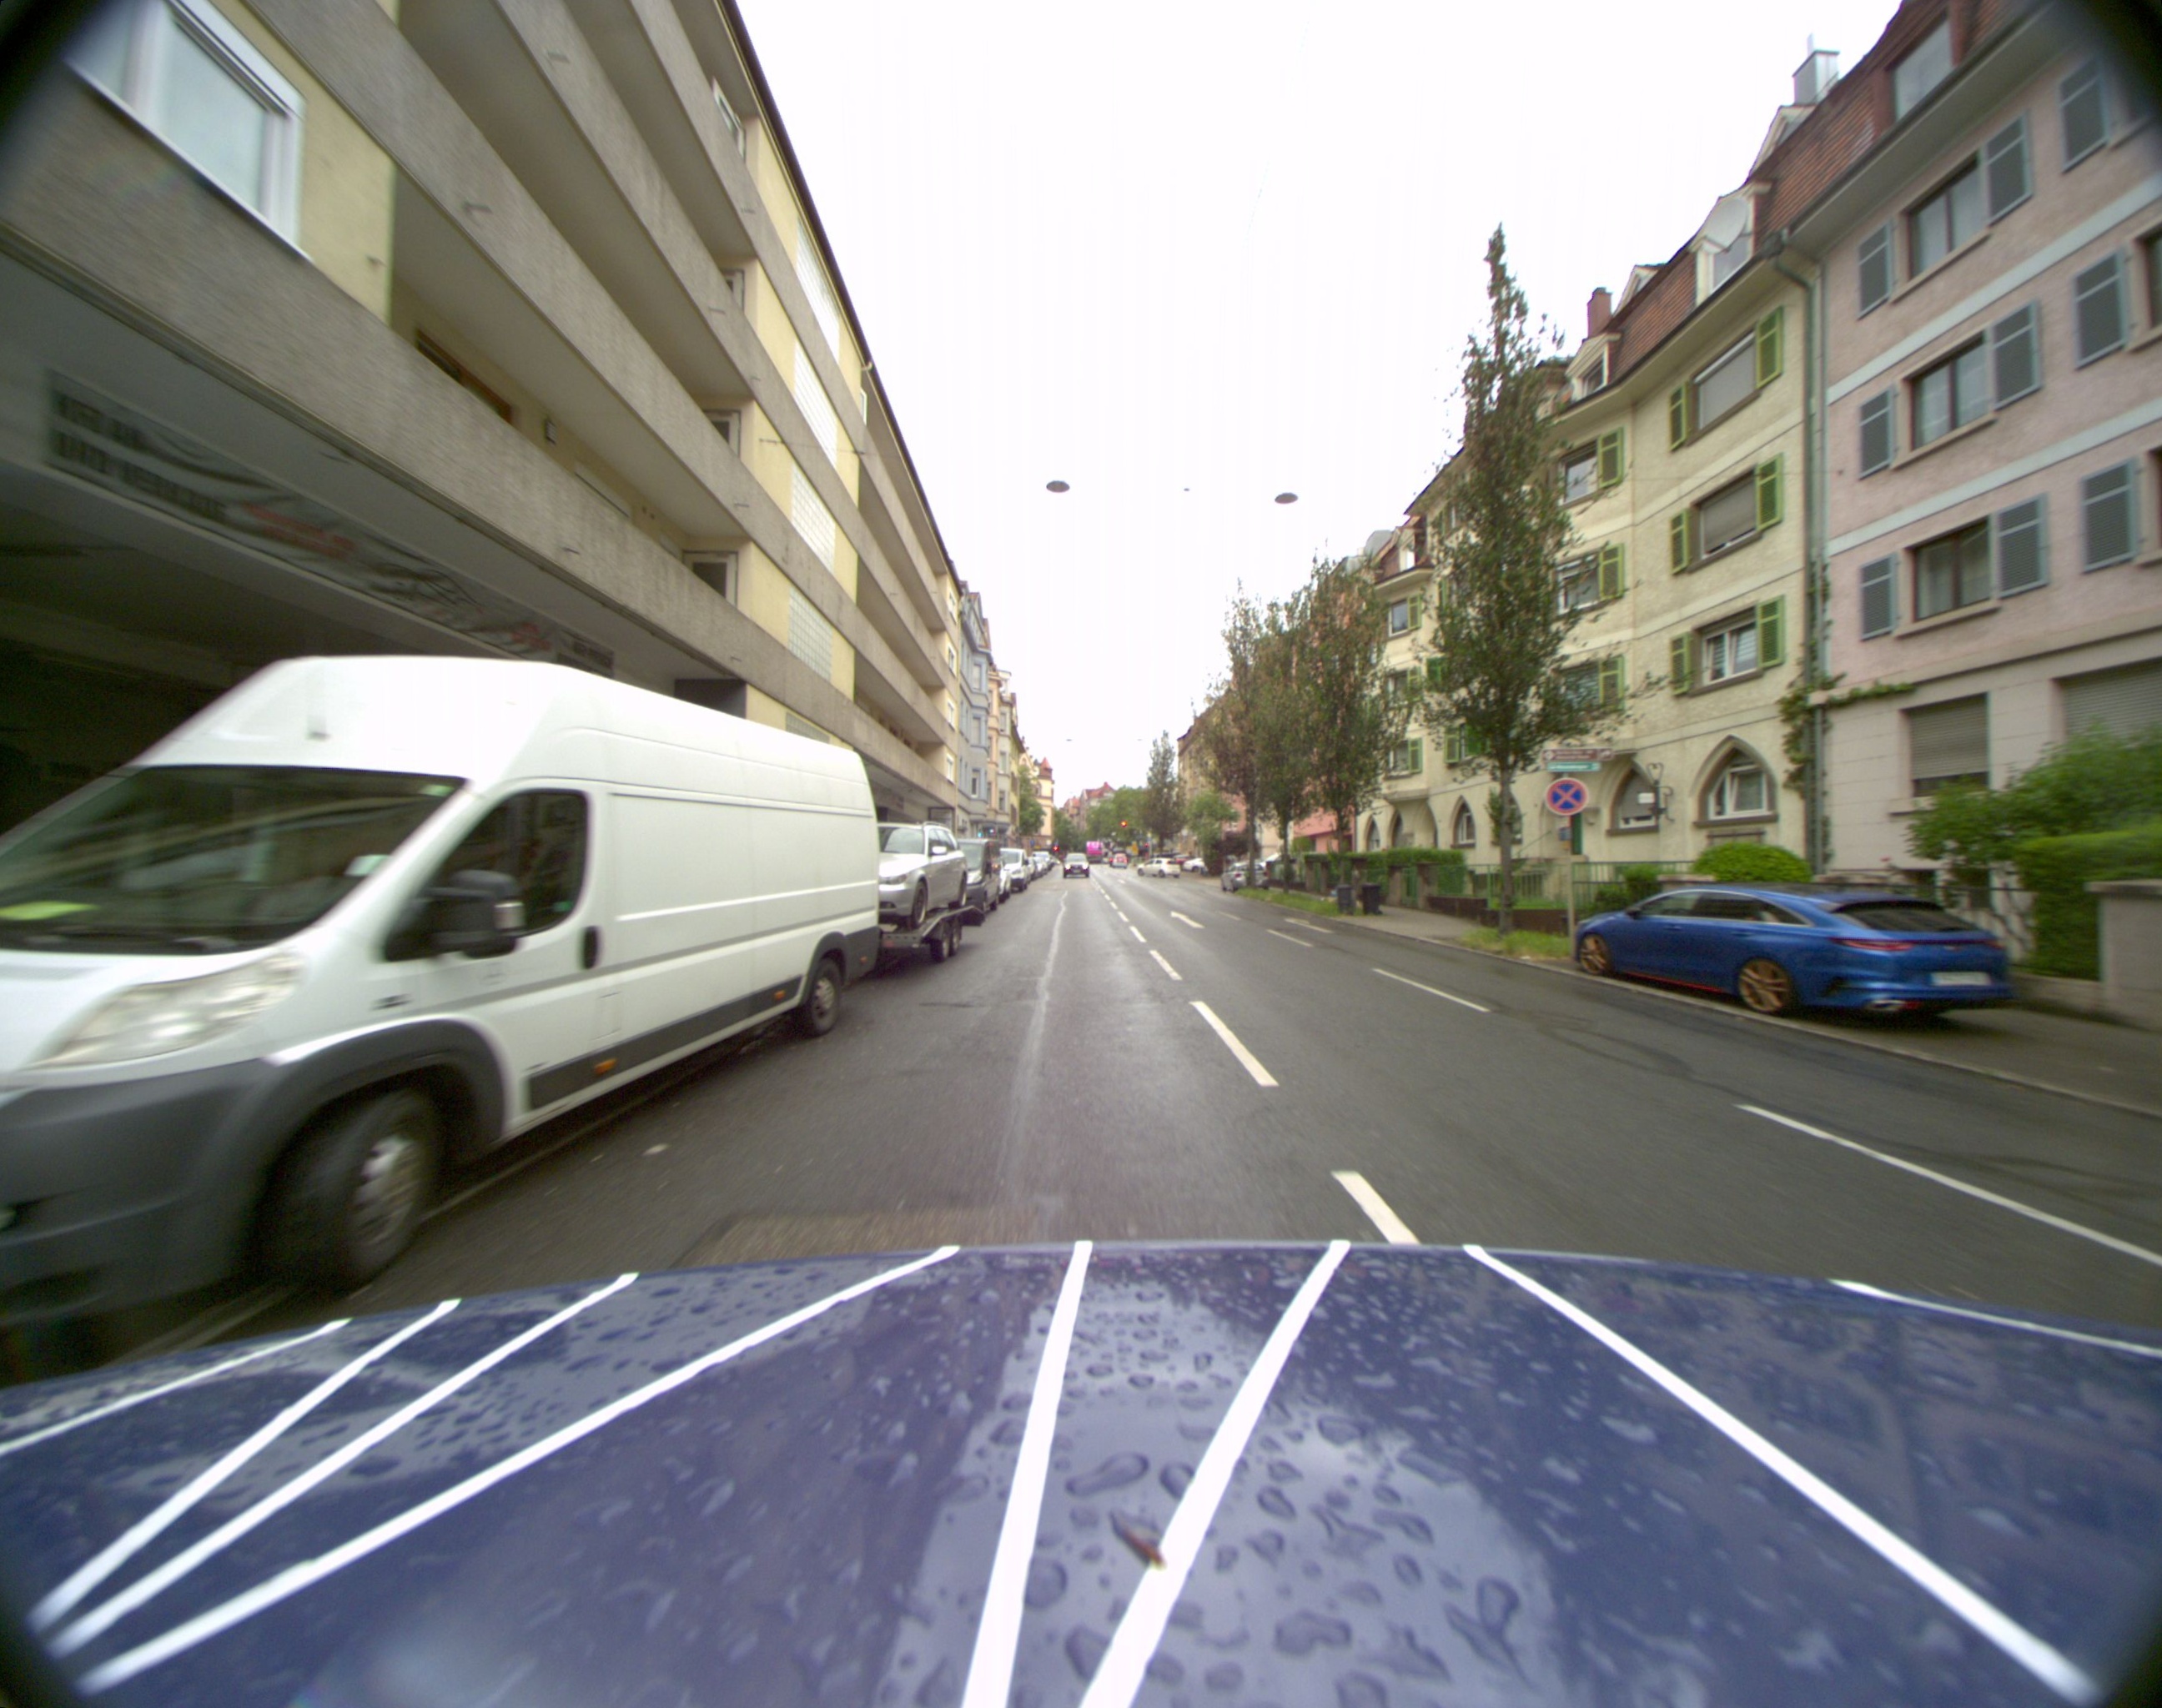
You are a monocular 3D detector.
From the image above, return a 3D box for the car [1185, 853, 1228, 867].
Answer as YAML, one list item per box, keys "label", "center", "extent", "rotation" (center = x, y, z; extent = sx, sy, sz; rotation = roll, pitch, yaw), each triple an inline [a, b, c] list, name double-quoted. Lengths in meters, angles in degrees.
- label: "car"
  center: [12.295, 0.605, 74.550]
  extent: [3.929, 1.289, 1.646]
  rotation: [1, 1, 0]

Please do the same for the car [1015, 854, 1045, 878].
- label: "car"
  center: [-3.406, 0.781, 50.983]
  extent: [1.731, 1.434, 4.357]
  rotation: [1, 1, 0]

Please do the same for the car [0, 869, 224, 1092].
- label: "car"
  center: [-8.782, 0.785, 5.103]
  extent: [3.663, 1.383, 1.898]
  rotation: [2, -1, -5]

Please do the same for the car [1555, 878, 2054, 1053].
- label: "car"
  center: [8.118, 1.102, 9.327]
  extent: [1.683, 1.378, 4.601]
  rotation: [0, 1, -1]

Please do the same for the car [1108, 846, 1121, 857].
- label: "car"
  center: [4.616, -0.316, 104.116]
  extent: [1.669, 1.448, 3.652]
  rotation: [-1, 1, 3]

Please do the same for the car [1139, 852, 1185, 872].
- label: "car"
  center: [6.428, 0.638, 60.397]
  extent: [1.673, 1.464, 3.643]
  rotation: [-2, 2, -33]

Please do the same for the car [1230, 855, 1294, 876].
- label: "car"
  center: [12.406, 0.773, 52.209]
  extent: [3.931, 1.389, 1.724]
  rotation: [0, 1, -7]

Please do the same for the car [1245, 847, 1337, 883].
- label: "car"
  center: [11.965, 0.605, 43.493]
  extent: [4.732, 1.894, 1.918]
  rotation: [-1, 2, -2]

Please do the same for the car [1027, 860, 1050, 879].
- label: "car"
  center: [-3.526, 1.298, 63.436]
  extent: [1.709, 1.389, 3.932]
  rotation: [-3, 1, 0]

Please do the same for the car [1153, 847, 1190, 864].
- label: "car"
  center: [10.396, 0.140, 87.654]
  extent: [3.930, 1.836, 1.866]
  rotation: [1, 1, -3]

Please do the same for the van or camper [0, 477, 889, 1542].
- label: "van or camper"
  center: [-3.492, 0.380, 5.117]
  extent: [2.189, 2.684, 6.422]
  rotation: [1, 0, 6]

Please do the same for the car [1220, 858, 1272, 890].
- label: "car"
  center: [8.187, 0.959, 37.993]
  extent: [1.685, 1.409, 4.137]
  rotation: [1, 1, 0]

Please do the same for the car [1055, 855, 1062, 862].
- label: "car"
  center: [-4.782, 0.909, 162.008]
  extent: [1.553, 1.386, 3.745]
  rotation: [1, 1, 0]

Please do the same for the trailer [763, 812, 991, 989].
- label: "trailer"
  center: [-2.838, 0.599, 11.994]
  extent: [1.998, 2.139, 5.073]
  rotation: [2, 0, 2]

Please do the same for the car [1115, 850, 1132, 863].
- label: "car"
  center: [5.198, 0.307, 93.735]
  extent: [1.772, 1.540, 3.651]
  rotation: [-1, 1, -1]

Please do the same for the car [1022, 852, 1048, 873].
- label: "car"
  center: [-3.371, 0.585, 56.745]
  extent: [1.709, 1.434, 3.932]
  rotation: [1, 1, 0]

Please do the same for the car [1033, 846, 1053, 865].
- label: "car"
  center: [-3.725, 0.152, 74.977]
  extent: [1.827, 1.808, 4.519]
  rotation: [1, 1, 0]

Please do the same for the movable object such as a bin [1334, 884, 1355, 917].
- label: "movable object such as a bin"
  center: [7.575, 1.326, 21.826]
  extent: [0.365, 0.884, 0.572]
  rotation: [-2, 1, -1]

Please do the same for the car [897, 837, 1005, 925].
- label: "car"
  center: [-3.441, 0.629, 21.311]
  extent: [2.159, 2.136, 5.508]
  rotation: [1, 1, -1]

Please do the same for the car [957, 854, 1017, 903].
- label: "car"
  center: [-3.422, 0.832, 28.366]
  extent: [1.751, 1.630, 4.272]
  rotation: [1, 1, -1]

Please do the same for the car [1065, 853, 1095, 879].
- label: "car"
  center: [-0.135, 0.817, 53.672]
  extent: [1.890, 1.543, 3.998]
  rotation: [-3, 1, -2]

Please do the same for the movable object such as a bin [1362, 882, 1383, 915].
- label: "movable object such as a bin"
  center: [8.461, 1.280, 22.066]
  extent: [0.365, 0.906, 0.572]
  rotation: [-2, 2, -1]

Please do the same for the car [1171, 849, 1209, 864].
- label: "car"
  center: [12.225, 0.308, 85.399]
  extent: [3.929, 1.613, 1.592]
  rotation: [1, 1, 0]

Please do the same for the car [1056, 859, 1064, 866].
- label: "car"
  center: [-4.411, 1.719, 161.977]
  extent: [1.553, 1.386, 3.745]
  rotation: [1, 1, 0]

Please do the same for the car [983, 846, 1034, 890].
- label: "car"
  center: [-3.377, 0.596, 36.256]
  extent: [1.994, 1.944, 4.821]
  rotation: [1, 1, -1]
